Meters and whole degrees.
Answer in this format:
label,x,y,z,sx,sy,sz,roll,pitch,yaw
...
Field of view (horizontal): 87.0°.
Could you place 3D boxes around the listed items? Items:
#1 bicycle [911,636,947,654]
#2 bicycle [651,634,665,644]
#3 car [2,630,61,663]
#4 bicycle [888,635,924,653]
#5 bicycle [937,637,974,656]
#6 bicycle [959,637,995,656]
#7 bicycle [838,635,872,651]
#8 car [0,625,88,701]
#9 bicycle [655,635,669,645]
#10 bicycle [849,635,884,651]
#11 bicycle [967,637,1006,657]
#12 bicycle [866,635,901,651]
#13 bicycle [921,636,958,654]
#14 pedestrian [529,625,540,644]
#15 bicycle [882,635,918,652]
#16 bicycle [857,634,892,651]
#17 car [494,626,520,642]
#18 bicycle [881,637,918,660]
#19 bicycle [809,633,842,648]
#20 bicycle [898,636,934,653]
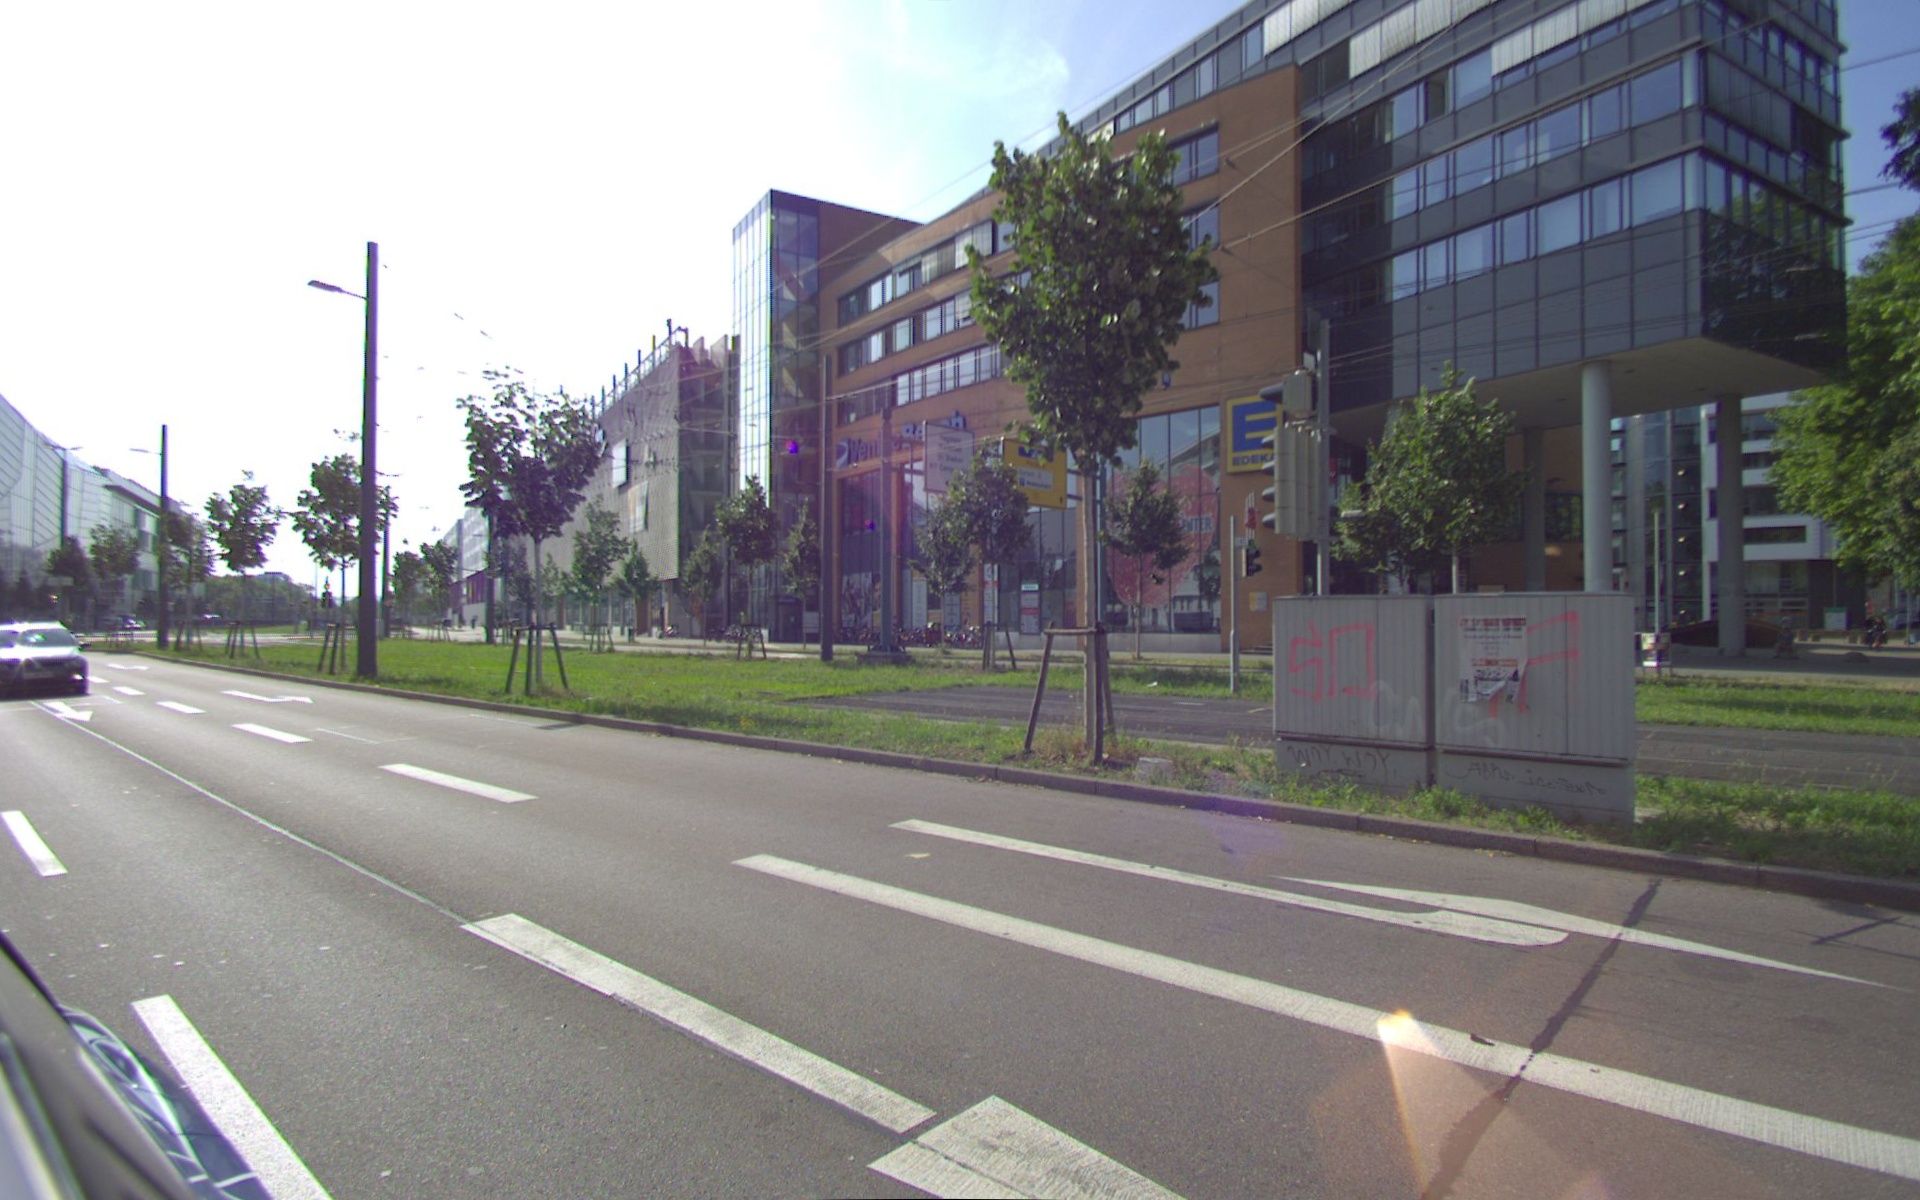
label,x,y,z,sx,sy,sz,roll,pitch,yaw
bicycle,-1.676,2.427,55.053,2.021,0.928,0.575,1,-2,-37
bicycle,-23.295,3.024,78.075,0.989,0.758,0.453,1,-2,-30
car,-39.656,1.944,43.189,3.164,1.353,1.566,-1,-2,42
bicycle,-2.971,2.444,56.188,2.021,0.928,0.575,1,-2,-37
bicycle,-0.223,2.415,52.921,2.021,0.928,0.575,1,-2,-37
bicycle,0.872,2.362,51.689,2.021,0.928,0.381,1,-2,-37
bicycle,-6.328,2.581,60.835,2.021,0.928,0.575,1,-2,-37
car,-19.417,1.241,20.963,3.895,1.430,1.621,-1,-2,43
bicycle,-22.696,3.052,77.039,1.007,0.758,0.362,1,-2,-30
bicycle,-5.514,2.518,59.807,2.021,0.928,0.575,1,-2,-37
bicycle,1.342,2.366,51.120,2.021,0.928,0.575,1,-2,-37
bicycle,-4.422,2.478,58.467,2.021,0.928,0.575,1,-2,-37
bicycle,-1.097,2.424,54.360,2.021,0.928,0.575,1,-2,-37
pedestrian,-36.190,2.925,86.076,0.751,1.591,0.591,1,-2,-35
bicycle,-3.365,2.464,57.054,2.021,0.928,0.575,1,-2,-37
bicycle,-4.989,2.470,59.133,2.021,0.928,0.575,1,-2,-37
car,-37.185,2.747,83.018,1.347,1.215,2.644,1,-1,-37
bicycle,-2.766,2.224,46.531,0.710,0.914,1.657,-1,2,43
bicycle,-8.461,2.545,63.841,2.021,0.928,0.575,1,-2,-37
bicycle,-2.417,2.432,55.633,2.021,0.928,0.575,1,-2,-37
